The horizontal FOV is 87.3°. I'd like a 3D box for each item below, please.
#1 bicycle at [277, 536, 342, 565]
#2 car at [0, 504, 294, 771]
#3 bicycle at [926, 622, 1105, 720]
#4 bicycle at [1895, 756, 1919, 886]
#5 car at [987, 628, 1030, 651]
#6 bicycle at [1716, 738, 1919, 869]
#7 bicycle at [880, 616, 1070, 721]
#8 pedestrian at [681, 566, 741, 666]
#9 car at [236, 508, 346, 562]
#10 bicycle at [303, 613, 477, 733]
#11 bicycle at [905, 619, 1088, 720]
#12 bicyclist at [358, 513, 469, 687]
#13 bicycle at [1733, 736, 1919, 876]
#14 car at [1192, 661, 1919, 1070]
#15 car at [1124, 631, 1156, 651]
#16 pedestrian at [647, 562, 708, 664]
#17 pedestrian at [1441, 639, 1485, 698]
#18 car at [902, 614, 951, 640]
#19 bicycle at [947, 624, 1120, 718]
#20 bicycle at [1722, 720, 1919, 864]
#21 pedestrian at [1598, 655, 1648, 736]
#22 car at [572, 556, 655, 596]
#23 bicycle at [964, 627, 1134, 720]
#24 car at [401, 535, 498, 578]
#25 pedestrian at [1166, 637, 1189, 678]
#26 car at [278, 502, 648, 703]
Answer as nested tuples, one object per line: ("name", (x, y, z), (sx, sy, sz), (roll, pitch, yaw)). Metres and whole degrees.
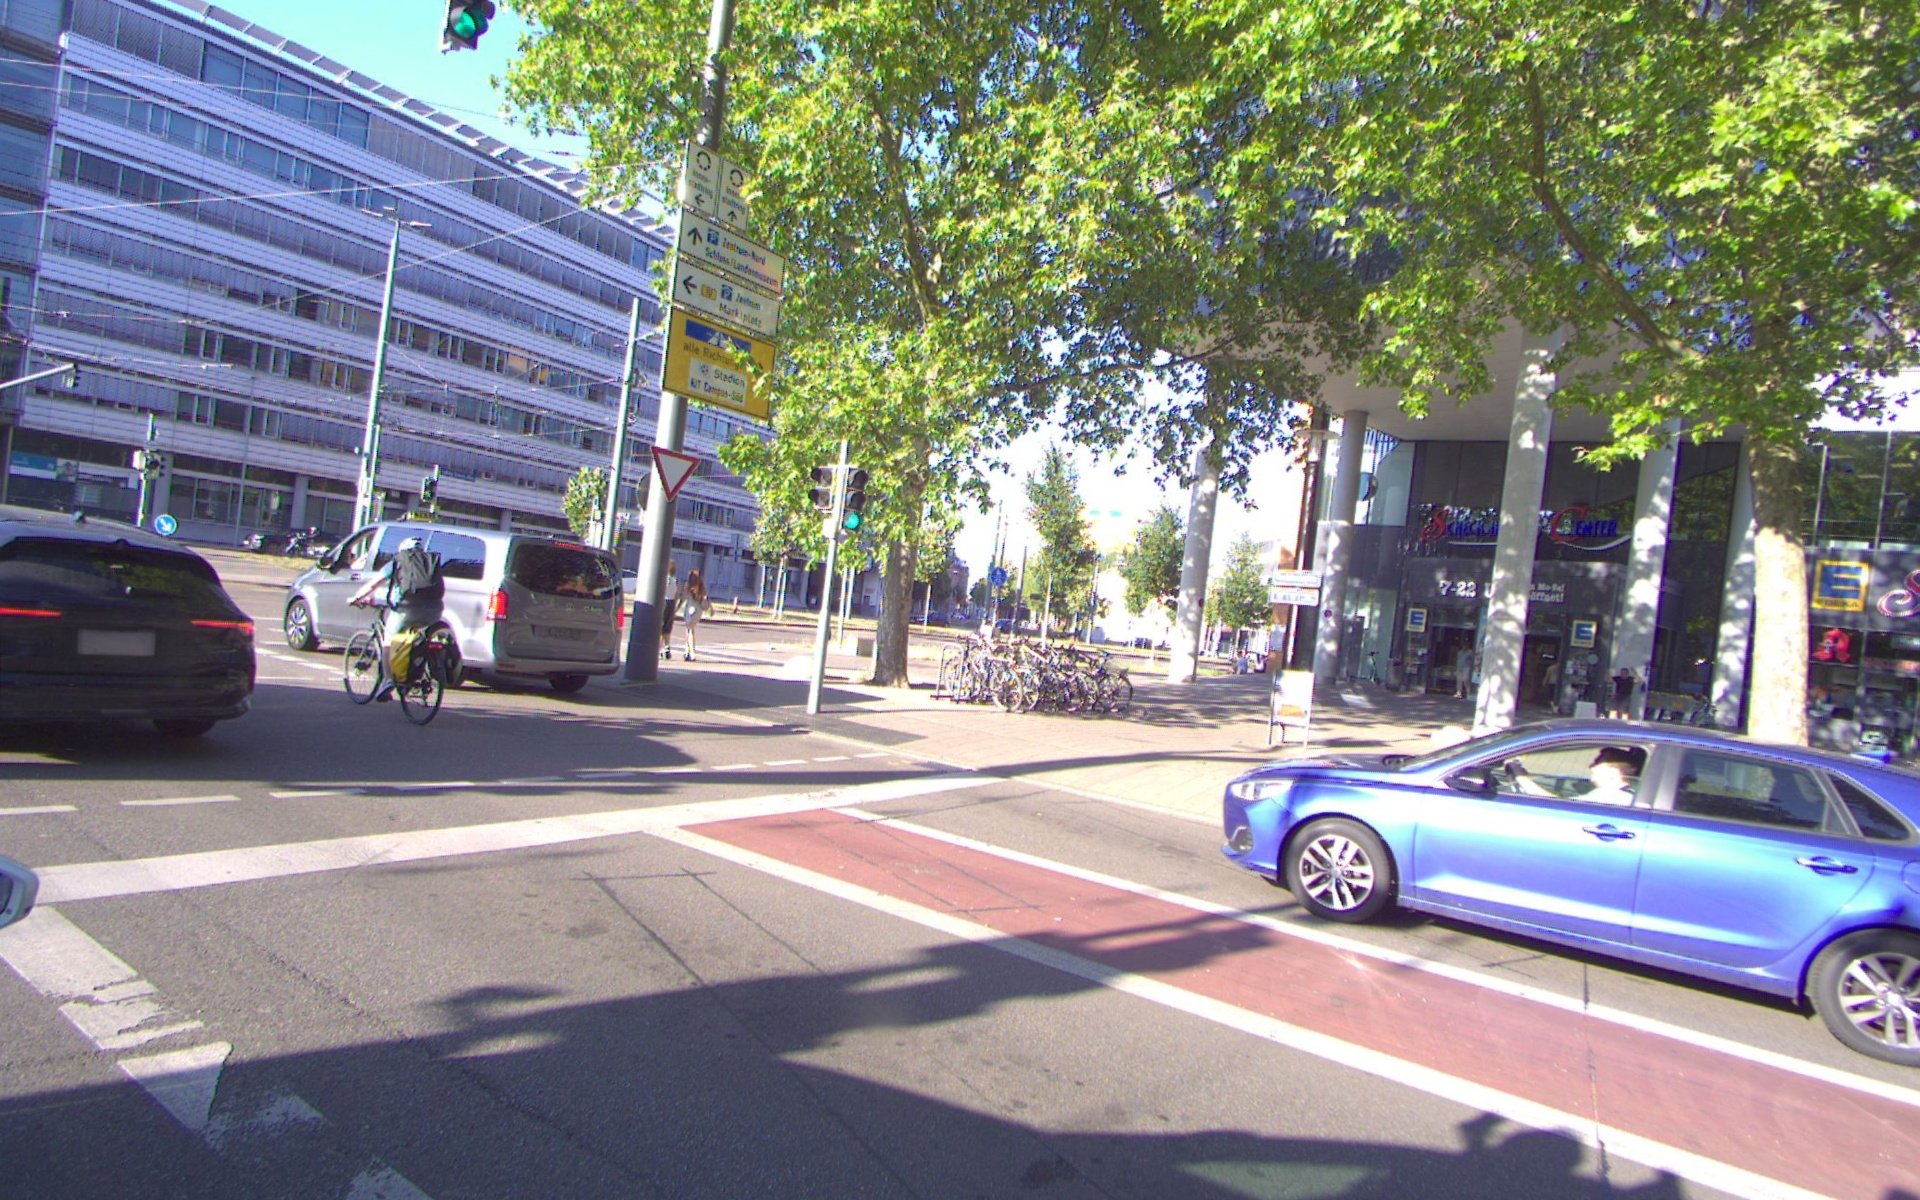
("bicycle", (-30.077, -2.275, 46.560), (0.627, 1.035, 2.410), (7, 0, 36))
("car", (-6.760, 0.044, 6.891), (4.221, 1.421, 1.768), (7, -1, 28))
("bicycle", (0.895, 1.172, 16.971), (2.896, 1.252, 0.705), (6, -1, 31))
("bicycle", (10.438, 2.258, 9.268), (2.514, 1.234, 0.756), (5, -2, 37))
("car", (4.455, 3.635, 91.869), (1.852, 1.614, 4.121), (6, -2, 35))
("bicycle", (11.440, 2.547, 12.014), (3.759, 1.234, 0.791), (5, -2, 37))
("bicycle", (0.189, 1.040, 15.716), (2.896, 1.252, 0.705), (6, -1, 31))
("pedestrian", (-4.723, 0.297, 19.072), (0.680, 1.781, 0.734), (6, 1, -38))
("car", (-33.650, -3.241, 50.690), (1.967, 2.037, 3.995), (6, -2, 32))
("bicycle", (-5.235, 0.649, 9.197), (1.830, 0.798, 0.491), (8, 0, 32))
("bicycle", (0.552, 1.100, 16.344), (2.896, 1.243, 0.686), (6, -1, 31))
("bicyclist", (-4.915, 0.004, 9.052), (0.605, 1.457, 0.487), (8, 0, 31))
("bicycle", (10.613, 2.338, 10.638), (3.759, 1.234, 0.756), (5, -2, 38))
("car", (3.804, 1.427, 6.285), (4.141, 1.476, 1.751), (7, -1, 30))
("car", (19.697, 4.502, 109.965), (1.852, 1.614, 4.121), (6, -2, 35))
("pedestrian", (-5.244, 0.236, 18.655), (0.674, 1.781, 0.734), (6, 1, -38))
("pedestrian", (17.312, 2.339, 34.618), (0.800, 1.913, 0.871), (5, 1, -16))
("car", (-2.800, 2.247, 83.932), (1.852, 1.614, 4.121), (6, -2, 35))
("bicycle", (1.242, 1.194, 17.558), (2.896, 1.254, 0.704), (6, 2, 31))
("bicycle", (11.005, 2.358, 11.266), (3.756, 1.235, 0.727), (10, 1, 36))
("pedestrian", (17.627, 2.544, 26.745), (0.847, 2.037, 1.021), (6, -1, 38))
("car", (-19.516, -1.327, 56.852), (1.852, 1.614, 3.991), (6, -2, 35))
("bicycle", (1.568, 1.300, 18.149), (2.896, 1.250, 0.698), (6, -4, 31))
("car", (-26.350, -2.249, 52.048), (1.769, 1.569, 3.990), (6, -2, 36))
("pedestrian", (9.015, 2.395, 41.706), (0.569, 1.612, 0.595), (7, 0, 32))
("car", (-6.484, -0.022, 12.933), (4.804, 1.919, 2.003), (7, -1, 34))
